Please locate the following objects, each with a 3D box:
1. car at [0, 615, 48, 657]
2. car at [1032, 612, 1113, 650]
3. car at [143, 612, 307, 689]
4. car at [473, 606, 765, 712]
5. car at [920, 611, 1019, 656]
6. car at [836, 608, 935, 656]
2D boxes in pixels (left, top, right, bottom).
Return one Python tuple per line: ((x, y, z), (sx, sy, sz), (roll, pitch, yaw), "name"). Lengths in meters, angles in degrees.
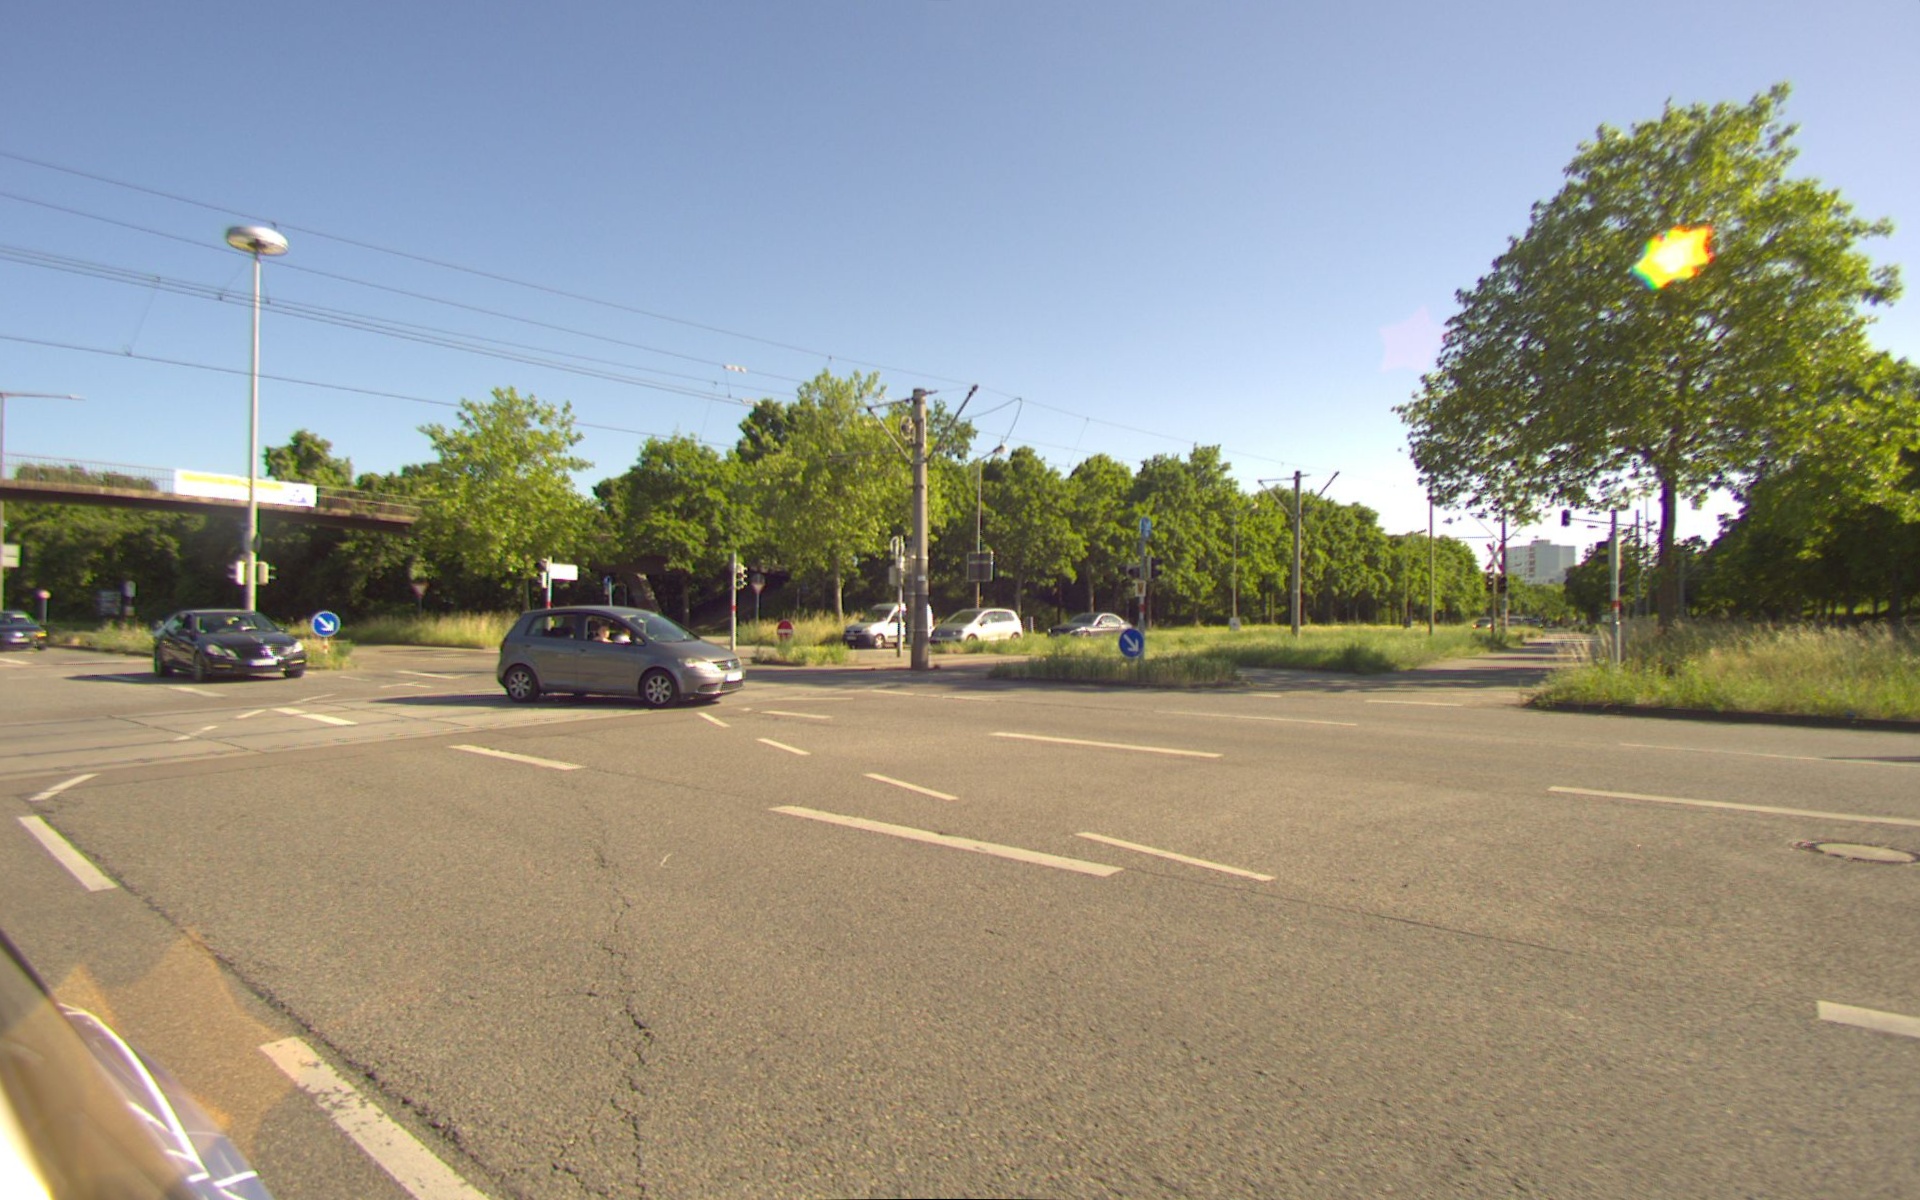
((-35.300, 1.321, 37.292), (3.995, 1.507, 1.774), (-1, -3, 37), "car")
((4.896, 1.299, 43.568), (1.848, 1.572, 3.879), (-1, -1, 35), "car")
((-16.028, 1.015, 21.984), (4.524, 1.498, 1.757), (-1, 0, 39), "car")
((-5.592, 0.900, 16.656), (4.351, 1.582, 1.836), (0, -1, 19), "car")
((0.408, 1.218, 37.952), (1.848, 1.572, 3.879), (-1, -1, 35), "car")
((-2.836, 1.184, 39.300), (1.774, 1.768, 3.952), (-1, -1, 35), "car")
